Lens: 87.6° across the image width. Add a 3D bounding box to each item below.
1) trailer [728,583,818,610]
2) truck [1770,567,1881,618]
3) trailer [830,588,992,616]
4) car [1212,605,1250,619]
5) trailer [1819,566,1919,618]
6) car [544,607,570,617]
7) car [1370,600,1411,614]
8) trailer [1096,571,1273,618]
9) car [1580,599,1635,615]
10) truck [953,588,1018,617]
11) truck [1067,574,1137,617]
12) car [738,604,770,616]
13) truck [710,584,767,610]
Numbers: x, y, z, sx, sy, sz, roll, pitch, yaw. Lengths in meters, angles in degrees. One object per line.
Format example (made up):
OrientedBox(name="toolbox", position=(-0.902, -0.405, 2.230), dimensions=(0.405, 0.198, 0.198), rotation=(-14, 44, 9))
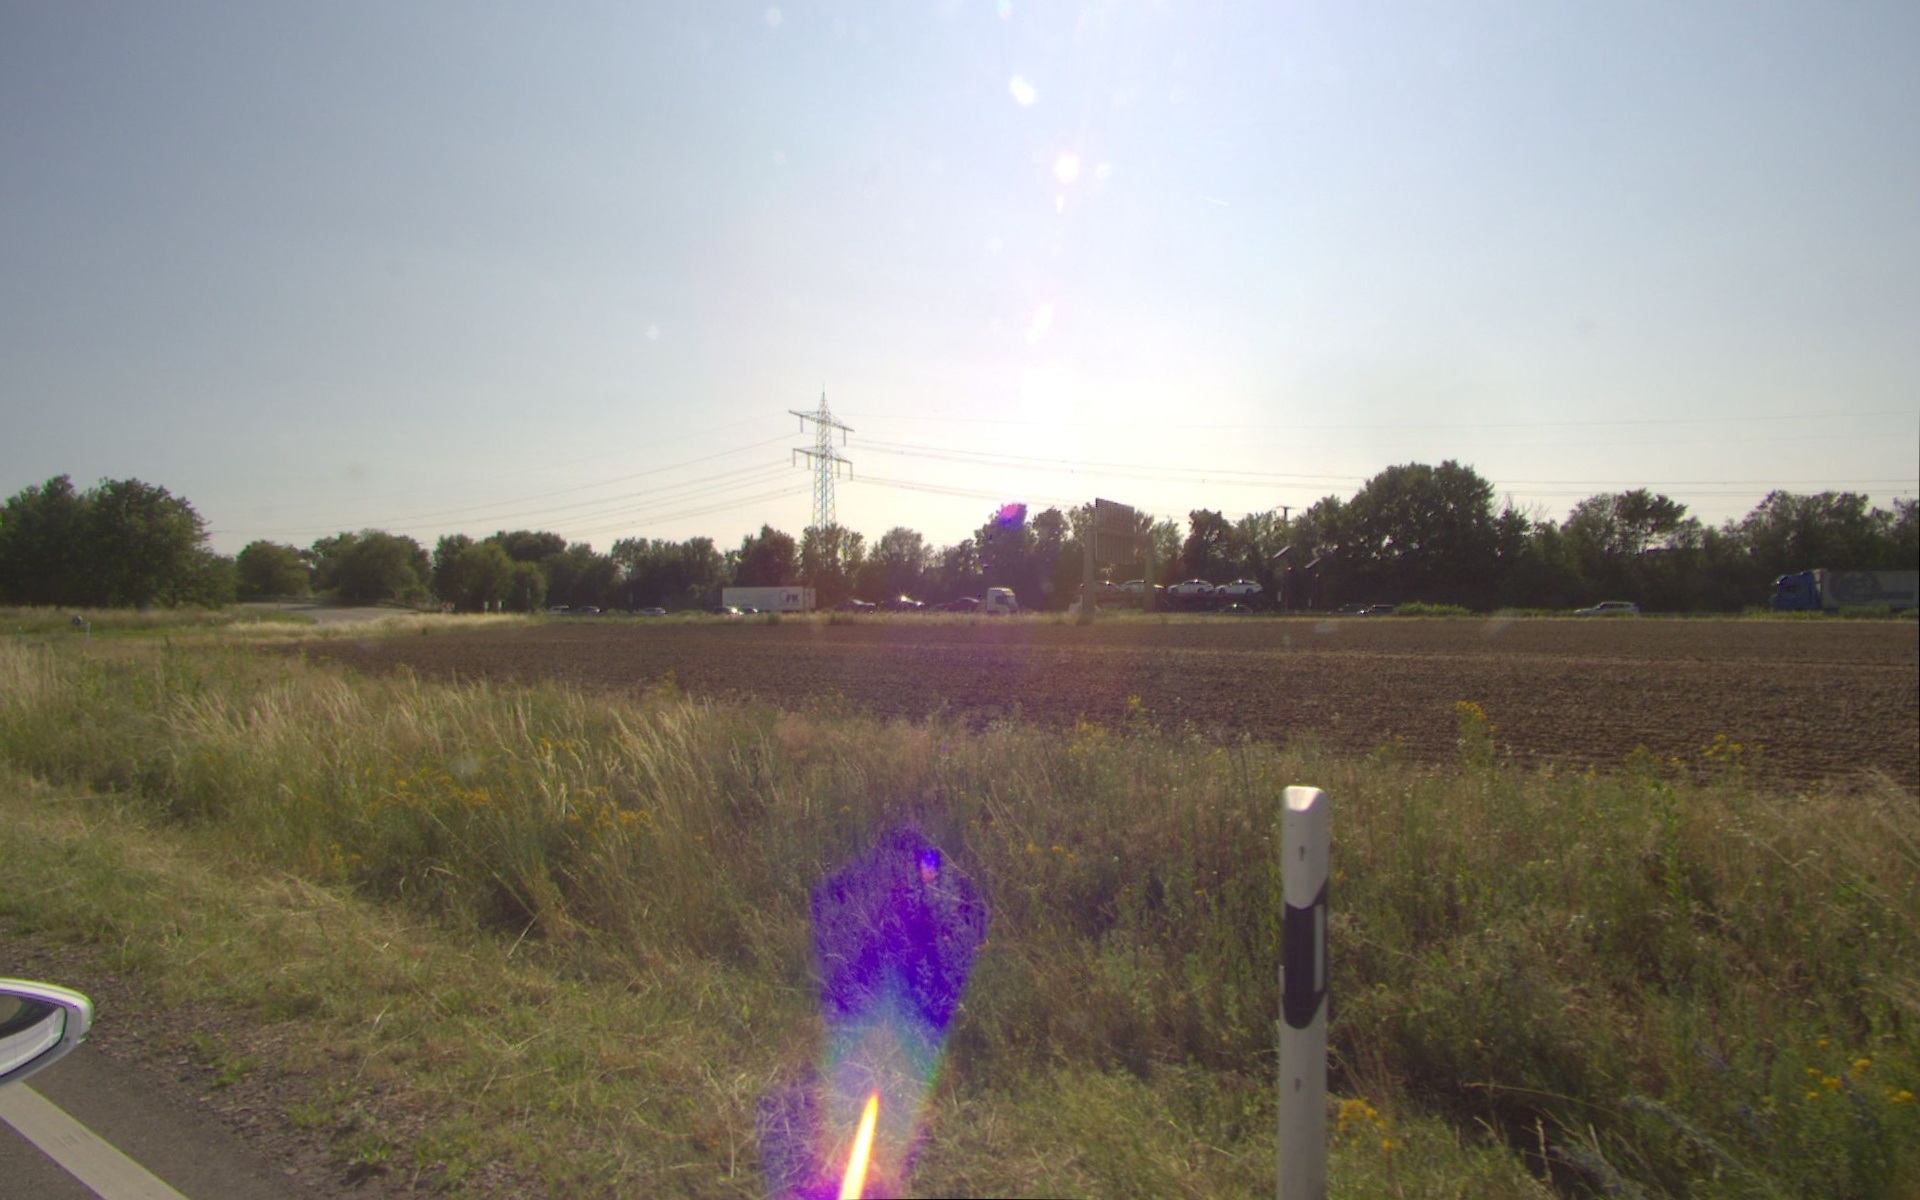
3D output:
OrientedBox(name="trailer", position=(-24.248, -0.447, 129.427), dimensions=(12.266, 3.311, 3.280), rotation=(0, 1, 29))
OrientedBox(name="truck", position=(66.851, -0.525, 77.543), dimensions=(5.998, 3.782, 3.066), rotation=(0, 0, 32))
OrientedBox(name="trailer", position=(-4.953, 0.184, 96.037), dimensions=(16.823, 2.565, 2.509), rotation=(0, 1, 29))
OrientedBox(name="car", position=(25.026, 1.110, 92.623), dimensions=(3.133, 1.166, 1.393), rotation=(0, -1, 30))
OrientedBox(name="trailer", position=(72.566, -0.559, 74.010), dimensions=(13.431, 3.782, 3.066), rotation=(0, 0, 32))
OrientedBox(name="car", position=(-59.032, 1.792, 146.770), dimensions=(3.571, 1.390, 1.769), rotation=(0, -2, 31))
OrientedBox(name="car", position=(37.345, 0.625, 86.805), dimensions=(3.133, 1.166, 1.393), rotation=(0, -1, 30))
OrientedBox(name="trailer", position=(22.692, -0.509, 102.216), dimensions=(17.293, 4.512, 3.417), rotation=(0, 1, 28))
OrientedBox(name="car", position=(50.762, 0.524, 78.520), dimensions=(3.528, 1.166, 1.393), rotation=(0, -1, 31))
OrientedBox(name="truck", position=(2.352, 0.190, 91.951), dimensions=(5.450, 2.565, 2.509), rotation=(0, 1, 29))
OrientedBox(name="truck", position=(15.106, -0.451, 106.333), dimensions=(6.602, 4.512, 3.417), rotation=(0, 1, 28))
OrientedBox(name="car", position=(-25.343, 1.234, 123.192), dimensions=(3.571, 1.390, 1.769), rotation=(0, -2, 31))
OrientedBox(name="truck", position=(-29.294, -0.410, 132.227), dimensions=(6.872, 3.311, 3.280), rotation=(0, 1, 29))
